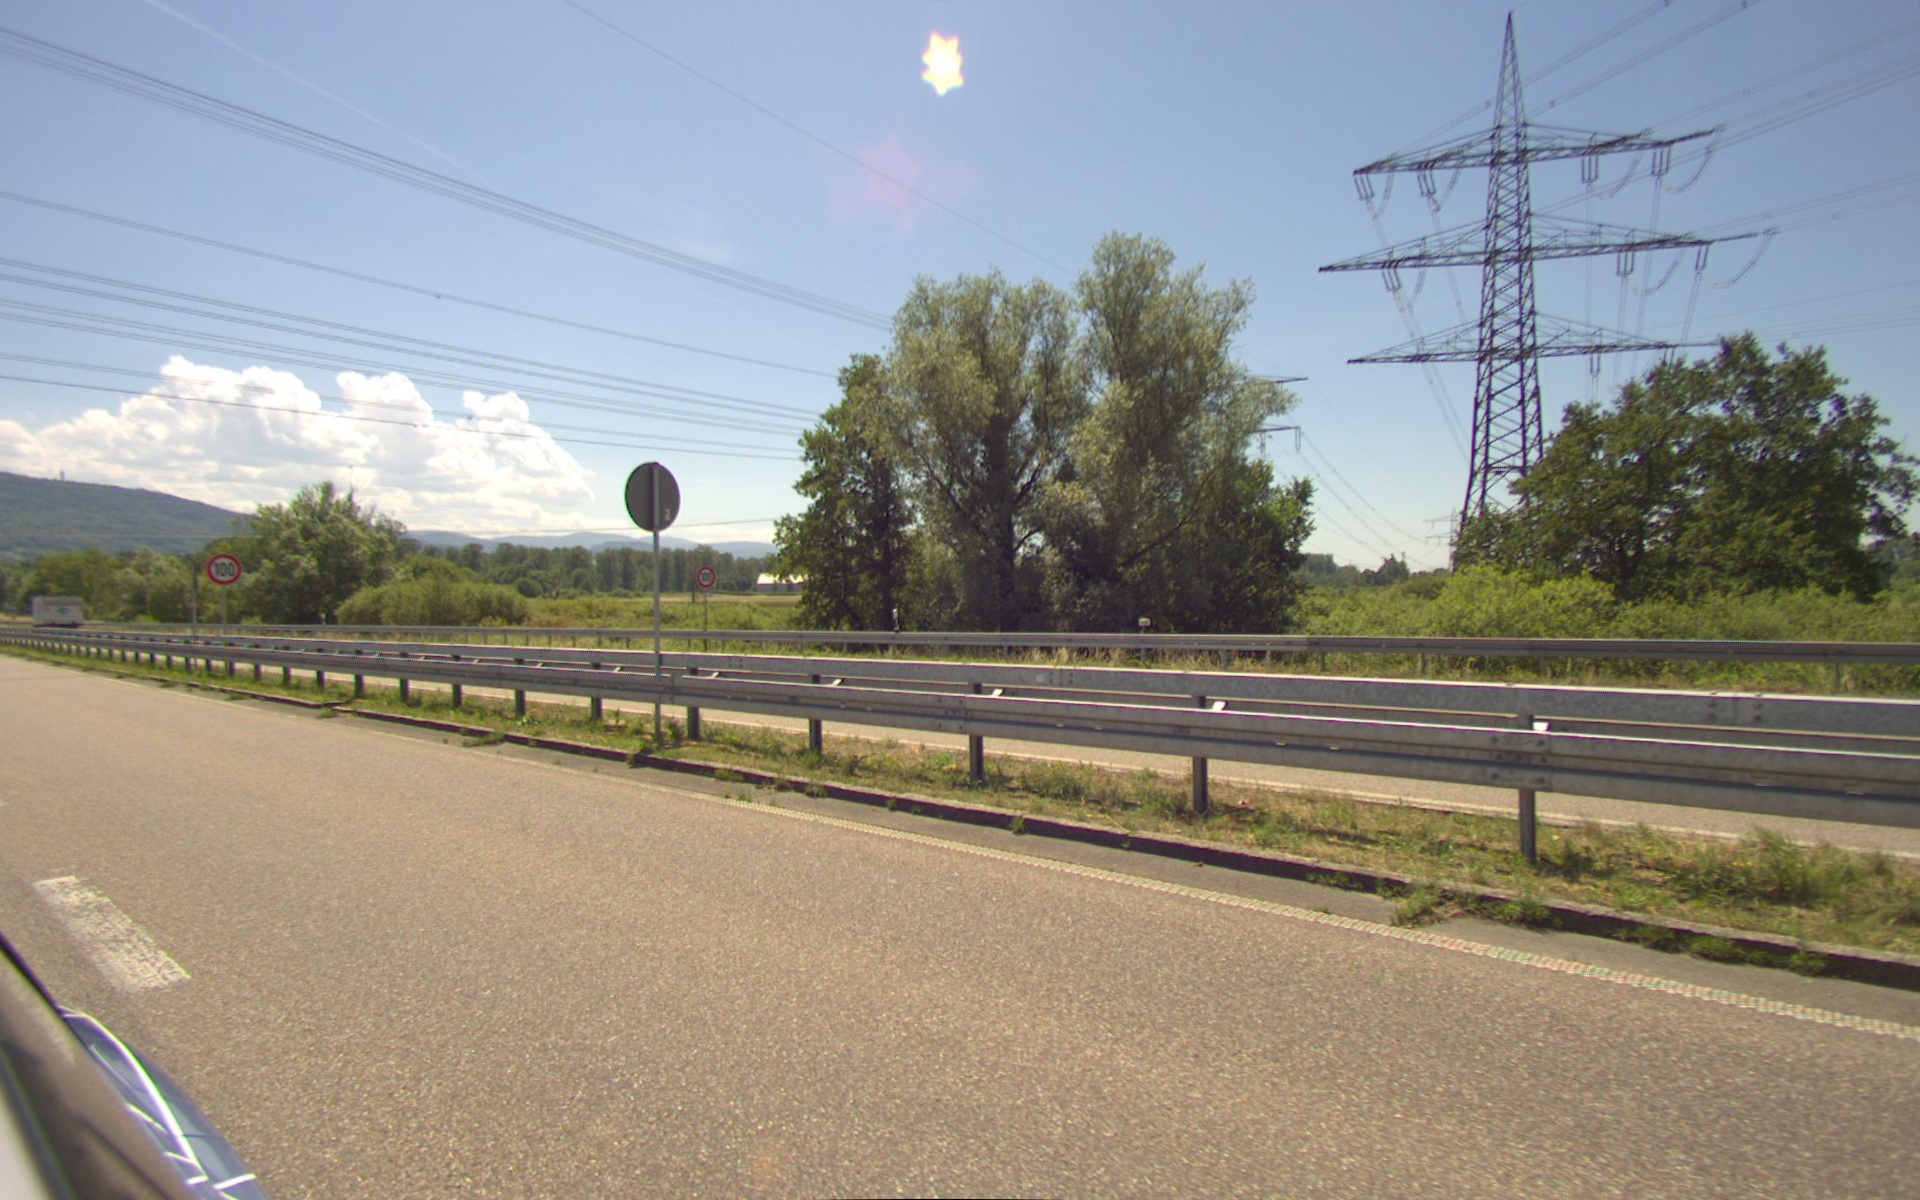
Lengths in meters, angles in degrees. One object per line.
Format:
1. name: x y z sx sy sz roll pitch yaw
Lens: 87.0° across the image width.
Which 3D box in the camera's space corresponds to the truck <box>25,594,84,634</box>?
1. truck: -75.943 1.188 84.815 8.401 3.217 2.690 -1 -1 41
